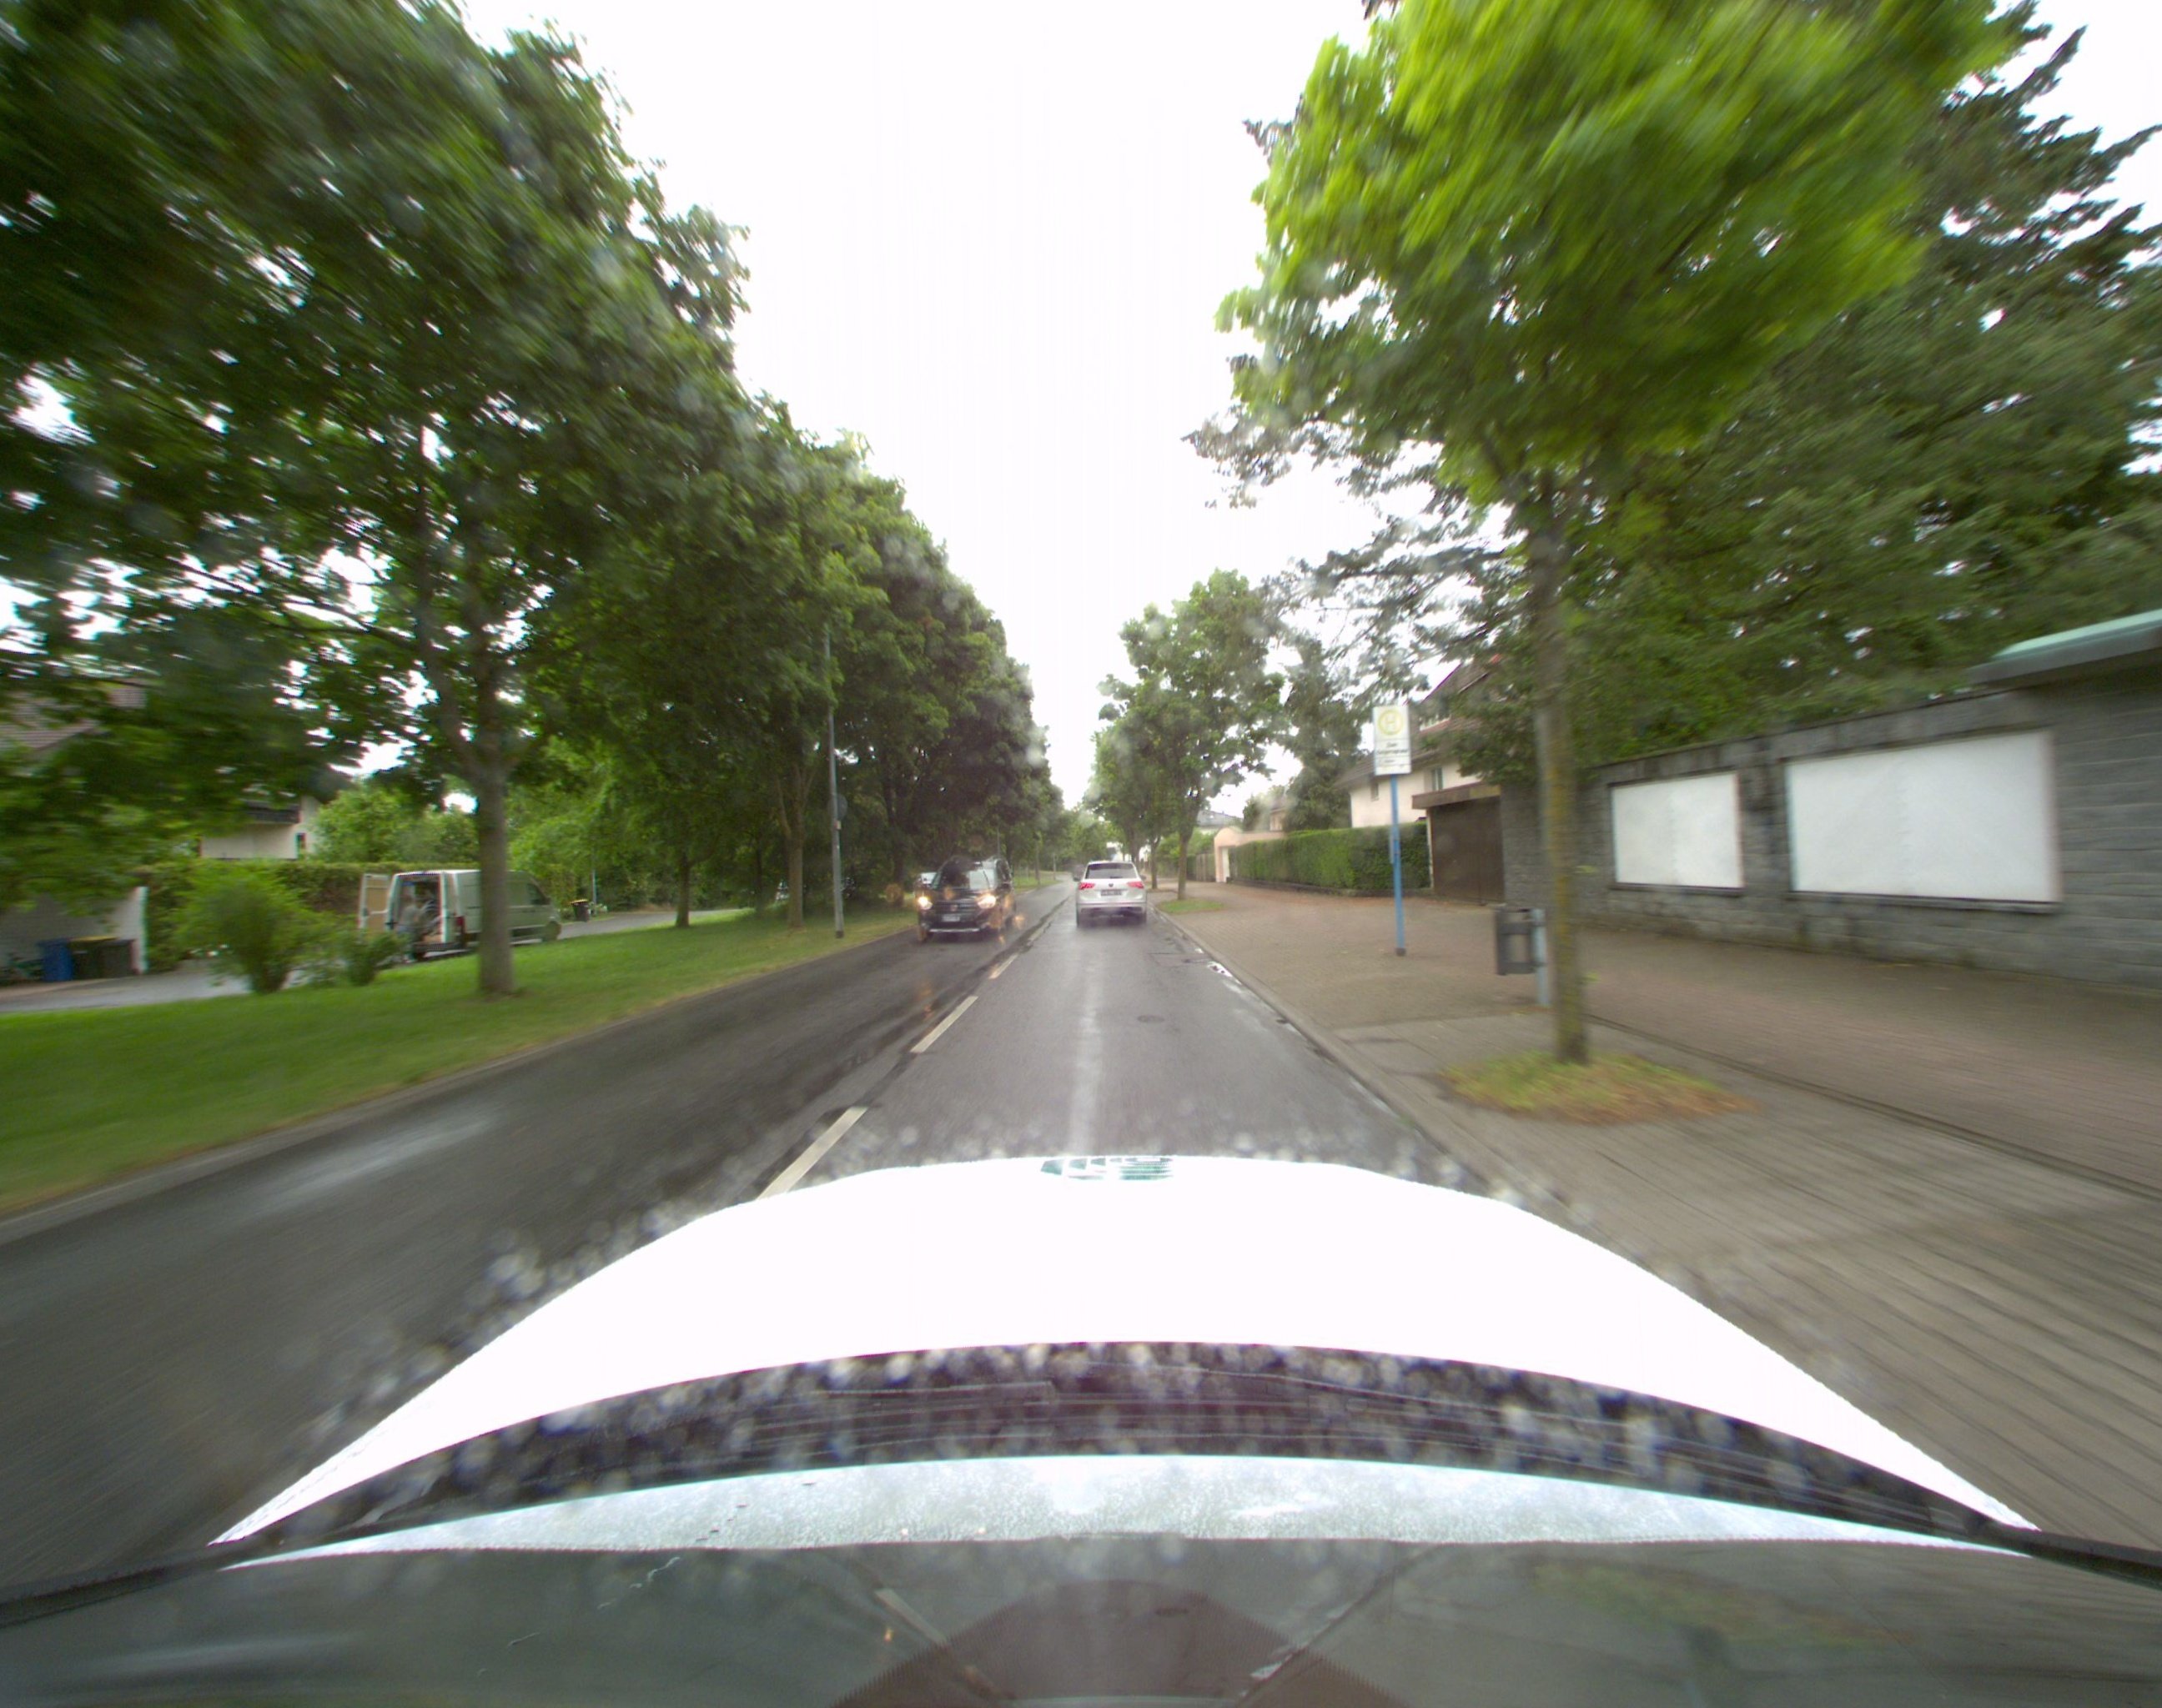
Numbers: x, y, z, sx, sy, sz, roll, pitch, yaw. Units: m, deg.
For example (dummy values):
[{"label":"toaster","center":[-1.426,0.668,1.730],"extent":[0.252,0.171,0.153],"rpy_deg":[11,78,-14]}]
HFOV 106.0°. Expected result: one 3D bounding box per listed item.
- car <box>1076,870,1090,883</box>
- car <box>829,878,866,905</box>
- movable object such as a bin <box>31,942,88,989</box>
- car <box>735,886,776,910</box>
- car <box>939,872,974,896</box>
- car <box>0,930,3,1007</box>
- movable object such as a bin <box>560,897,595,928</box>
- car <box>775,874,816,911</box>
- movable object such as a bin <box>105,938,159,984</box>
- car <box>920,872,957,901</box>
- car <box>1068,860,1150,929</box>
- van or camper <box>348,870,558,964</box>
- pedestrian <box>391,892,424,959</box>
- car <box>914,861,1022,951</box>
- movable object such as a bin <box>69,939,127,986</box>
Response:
[{"label":"car","center":[0.232,3.417,123.875],"extent":[1.897,2.014,3.938],"rpy_deg":[-1,-1,-4]},{"label":"car","center":[-15.914,2.538,55.378],"extent":[1.869,1.508,4.573],"rpy_deg":[-3,1,-22]},{"label":"movable object such as a bin","center":[-25.544,2.770,20.378],"extent":[0.655,1.057,0.548],"rpy_deg":[-2,1,-9]},{"label":"car","center":[-22.087,2.943,55.388],"extent":[1.835,1.411,4.199],"rpy_deg":[-3,-1,-11]},{"label":"car","center":[-8.930,2.113,58.015],"extent":[1.885,1.430,4.193],"rpy_deg":[-3,1,-16]},{"label":"car","center":[-24.422,2.480,15.732],"extent":[3.992,1.594,1.895],"rpy_deg":[-3,-1,-13]},{"label":"movable object such as a bin","center":[-25.196,2.908,40.746],"extent":[1.082,1.467,1.165],"rpy_deg":[0,-2,-7]},{"label":"car","center":[-15.352,2.127,43.946],"extent":[1.909,1.770,4.867],"rpy_deg":[-3,-3,-18]},{"label":"movable object such as a bin","center":[-24.117,2.711,20.707],"extent":[0.655,1.057,0.548],"rpy_deg":[-2,1,-9]},{"label":"car","center":[-8.217,1.826,46.630],"extent":[1.890,1.514,4.231],"rpy_deg":[-2,-1,-12]},{"label":"car","center":[0.771,1.042,22.224],"extent":[1.966,1.653,4.179],"rpy_deg":[-1,-1,2]},{"label":"van or camper","center":[-18.522,1.721,24.563],"extent":[2.088,2.336,6.138],"rpy_deg":[-3,-1,-7]},{"label":"pedestrian","center":[-18.469,1.960,22.336],"extent":[0.484,1.782,0.399],"rpy_deg":[-3,-1,-8]},{"label":"car","center":[-2.483,1.094,18.859],"extent":[1.770,1.773,4.286],"rpy_deg":[-2,-1,1]},{"label":"movable object such as a bin","center":[-24.819,2.736,20.574],"extent":[0.707,1.057,0.548],"rpy_deg":[-2,1,-9]}]
